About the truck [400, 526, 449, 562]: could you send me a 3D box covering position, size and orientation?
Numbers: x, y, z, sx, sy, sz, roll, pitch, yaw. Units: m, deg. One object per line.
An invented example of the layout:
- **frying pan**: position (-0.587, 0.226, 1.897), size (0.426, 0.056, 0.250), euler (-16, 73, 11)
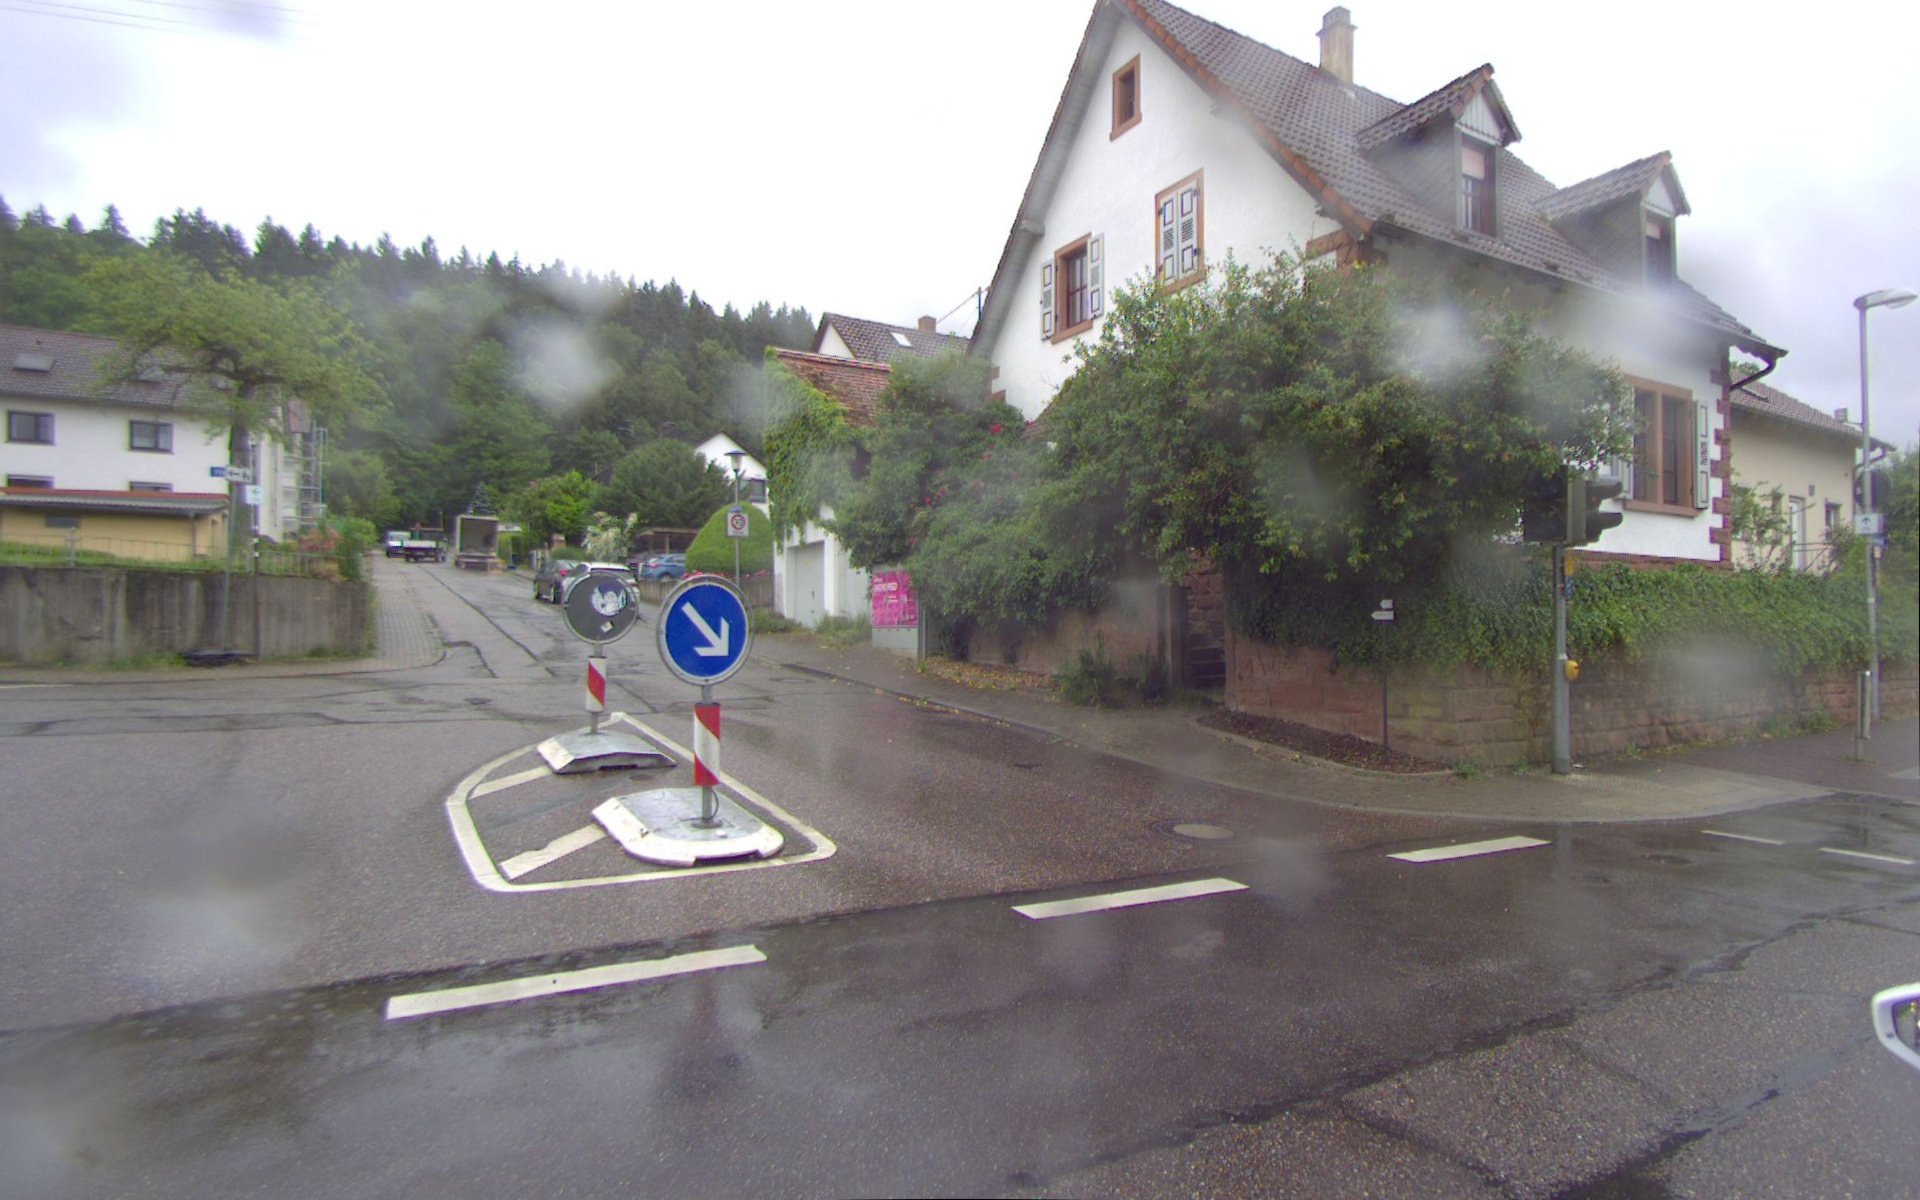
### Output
- **truck**: position (-36.537, -3.775, 68.650), size (2.267, 2.155, 6.046), euler (2, 1, -22)

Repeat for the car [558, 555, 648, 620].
- **car**: position (-10.742, -0.407, 30.076), size (1.878, 1.535, 3.860), euler (2, 5, -29)

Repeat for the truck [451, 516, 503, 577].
- **truck**: position (-29.183, -3.160, 60.554), size (2.424, 3.397, 6.606), euler (2, 1, -29)

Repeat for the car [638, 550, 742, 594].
- **car**: position (-11.363, -1.165, 42.286), size (3.846, 1.535, 1.884), euler (2, 5, -31)

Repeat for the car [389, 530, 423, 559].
- **car**: position (-42.359, -4.253, 76.752), size (1.896, 2.040, 3.963), euler (2, 1, -33)
